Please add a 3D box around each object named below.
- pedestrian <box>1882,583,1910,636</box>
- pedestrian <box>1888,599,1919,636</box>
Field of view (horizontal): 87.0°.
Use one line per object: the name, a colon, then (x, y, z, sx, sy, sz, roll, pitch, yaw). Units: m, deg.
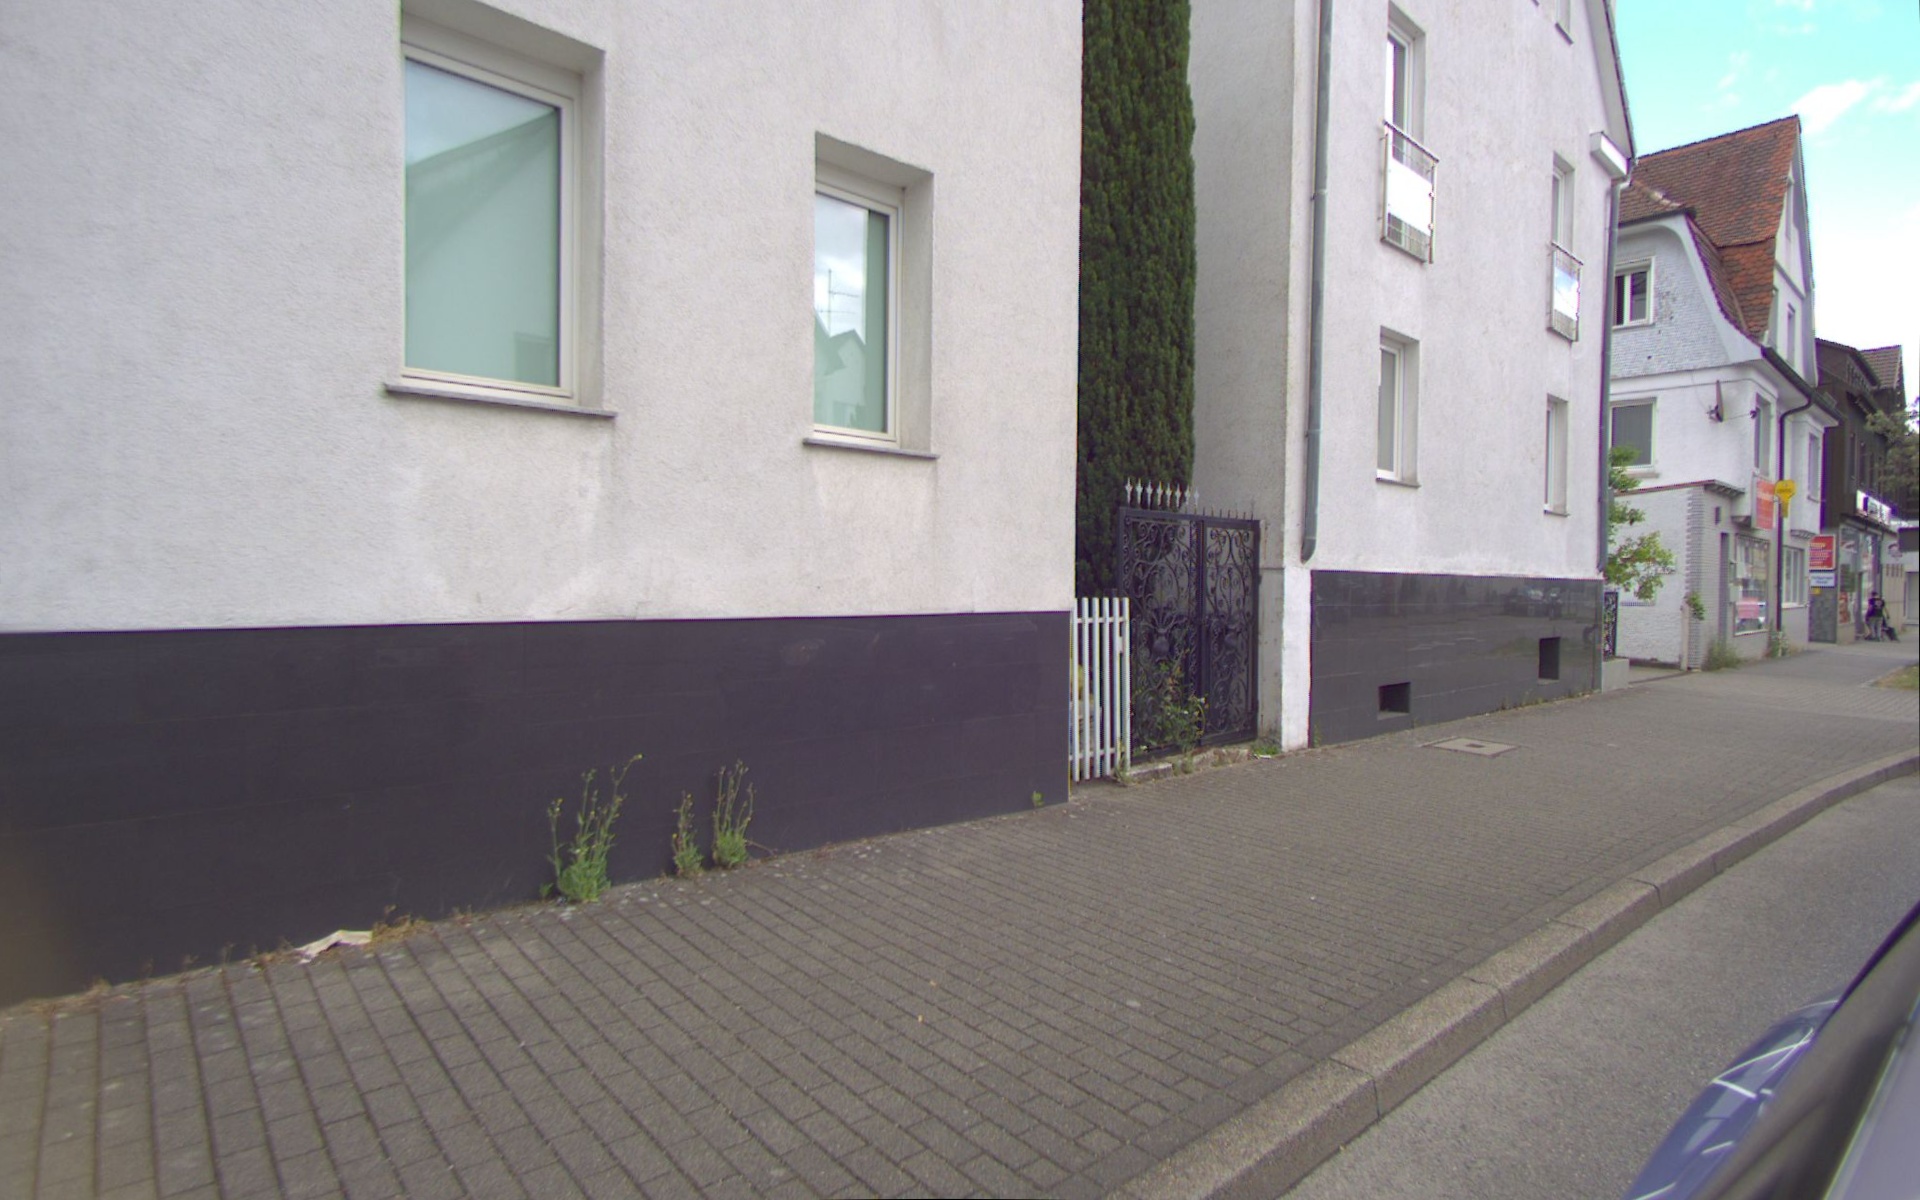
pedestrian: (32.055, 0.319, 34.663, 0.642, 1.762, 0.731, 3, 2, 43)
pedestrian: (32.736, 0.613, 35.083, 0.633, 1.226, 0.741, 0, 2, -42)
